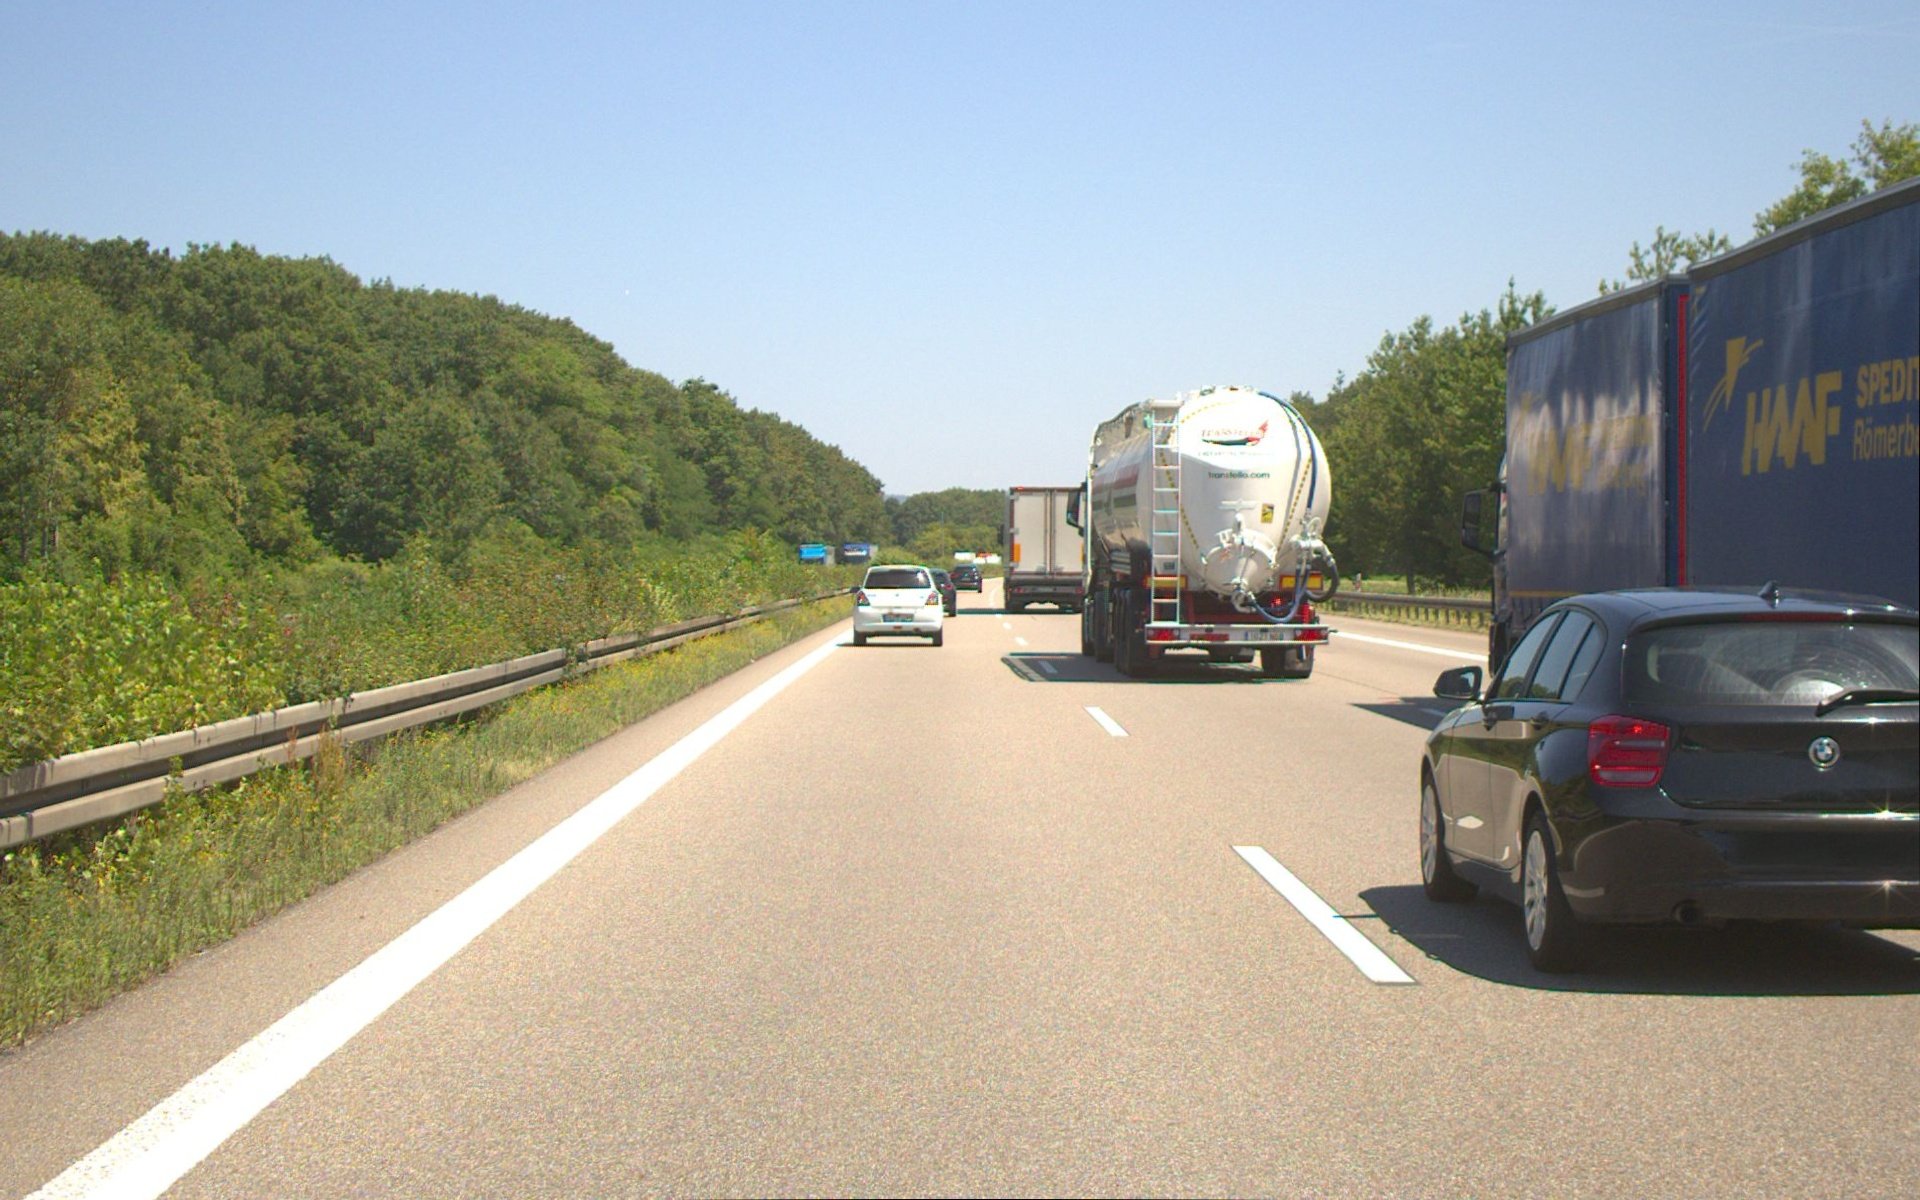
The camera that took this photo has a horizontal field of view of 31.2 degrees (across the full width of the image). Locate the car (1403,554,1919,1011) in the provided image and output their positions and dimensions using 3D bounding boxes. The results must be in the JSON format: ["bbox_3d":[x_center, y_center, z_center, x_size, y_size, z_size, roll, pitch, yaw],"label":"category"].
[{"bbox_3d":[2.944,0.598,13.617,1.850,1.518,3.957,1,1,0],"label":"car"}]

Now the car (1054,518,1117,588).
[{"bbox_3d":[5.910,-2.229,162.342,2.669,3.179,5.567,1,1,0],"label":"car"}]

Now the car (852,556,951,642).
[{"bbox_3d":[-1.133,-0.048,65.229,1.799,1.546,3.610,1,1,-2],"label":"car"}]

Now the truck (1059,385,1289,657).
[{"bbox_3d":[3.338,-1.255,55.536,2.911,4.065,7.196,1,1,-2],"label":"truck"}]

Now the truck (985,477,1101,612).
[{"bbox_3d":[2.641,-1.843,113.885,3.394,4.199,12.084,1,1,0],"label":"truck"}]

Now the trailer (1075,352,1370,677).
[{"bbox_3d":[3.516,-1.176,49.492,2.911,4.055,12.419,1,1,-2],"label":"trailer"}]

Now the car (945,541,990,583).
[{"bbox_3d":[0.409,-2.194,196.172,2.475,2.346,5.182,1,1,0],"label":"car"}]

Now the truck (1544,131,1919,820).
[{"bbox_3d":[7.260,-0.812,25.304,3.109,4.124,15.512,1,1,0],"label":"truck"}]

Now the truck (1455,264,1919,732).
[{"bbox_3d":[7.186,-0.970,34.639,3.109,4.124,8.057,1,1,0],"label":"truck"}]
